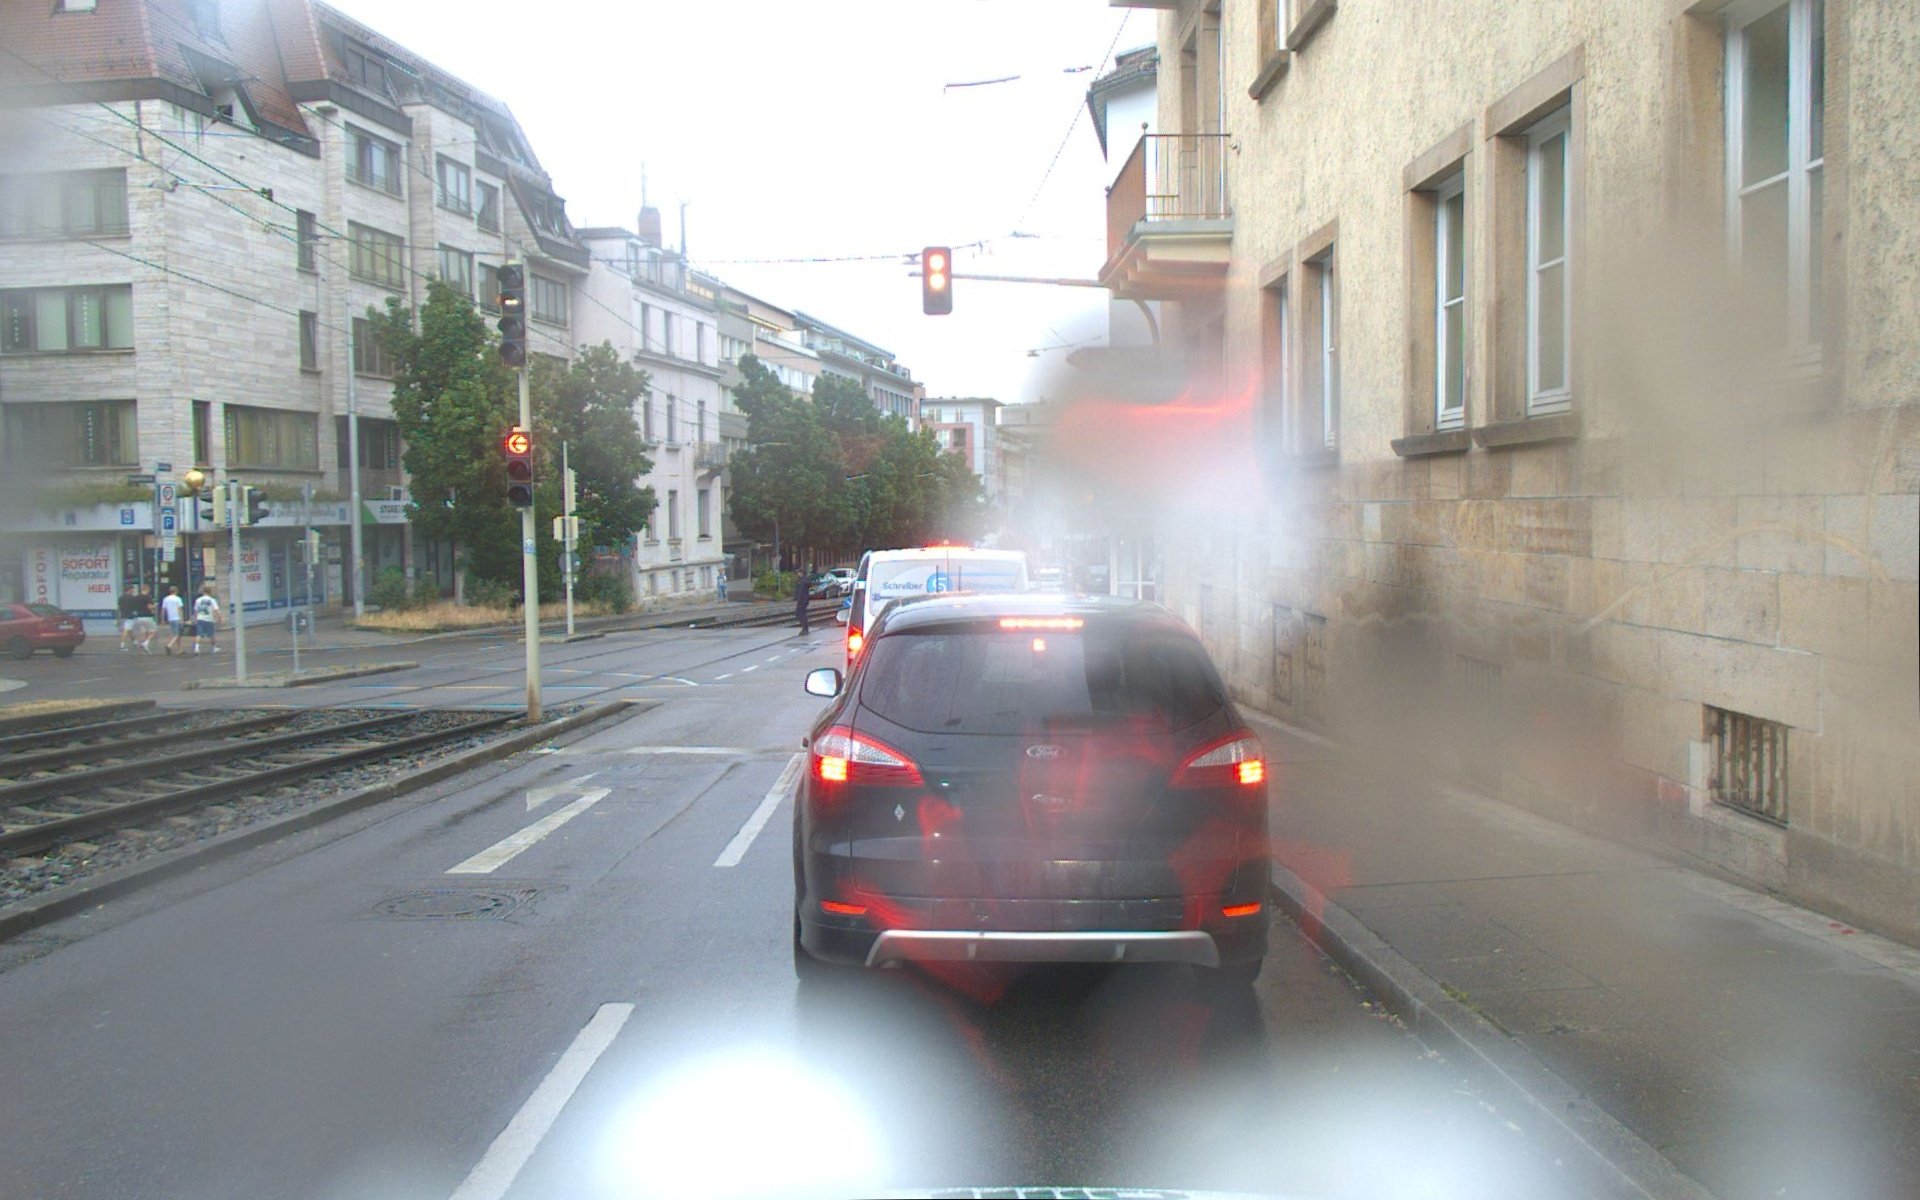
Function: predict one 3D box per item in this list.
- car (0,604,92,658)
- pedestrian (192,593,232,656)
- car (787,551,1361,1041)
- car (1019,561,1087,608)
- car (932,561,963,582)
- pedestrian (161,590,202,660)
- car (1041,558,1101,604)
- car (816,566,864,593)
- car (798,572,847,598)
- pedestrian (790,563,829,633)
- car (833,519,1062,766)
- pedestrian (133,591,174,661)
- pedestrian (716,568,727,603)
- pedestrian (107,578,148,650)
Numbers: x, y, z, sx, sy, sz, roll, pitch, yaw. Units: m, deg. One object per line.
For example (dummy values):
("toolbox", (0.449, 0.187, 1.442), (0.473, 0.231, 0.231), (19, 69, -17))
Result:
("car", (-24.349, 0.785, 42.303), (3.614, 1.341, 1.595), (-1, 0, 12))
("pedestrian", (-19.065, 0.609, 42.171), (0.634, 1.576, 0.684), (1, 0, 7))
("car", (0.332, 0.625, 7.246), (1.805, 1.533, 3.999), (1, 0, -1))
("car", (3.215, -0.512, 56.171), (1.763, 1.481, 4.590), (-2, 0, 9))
("car", (-1.037, -2.394, 139.790), (1.816, 1.665, 4.939), (0, 0, 9))
("pedestrian", (-19.932, 0.632, 42.334), (0.634, 1.754, 0.684), (1, 0, 7))
("car", (4.269, -0.717, 62.795), (1.806, 1.661, 4.590), (-1, 0, 9))
("car", (-7.189, -1.216, 99.679), (1.816, 1.575, 4.725), (0, 0, 9))
("car", (-7.761, -0.842, 93.815), (1.657, 1.401, 4.725), (0, 0, 9))
("pedestrian", (-4.074, -0.055, 44.946), (0.911, 1.862, 0.960), (1, 0, 1))
("car", (-0.171, 0.369, 16.554), (1.948, 2.096, 4.643), (1, 0, -2))
("pedestrian", (-20.745, 0.663, 42.541), (0.634, 1.780, 0.684), (1, 0, 7))
("pedestrian", (-11.682, -0.699, 81.059), (0.458, 1.681, 0.582), (1, 0, -3))
("pedestrian", (-22.038, 0.367, 43.785), (0.634, 1.874, 0.684), (1, 0, 7))
